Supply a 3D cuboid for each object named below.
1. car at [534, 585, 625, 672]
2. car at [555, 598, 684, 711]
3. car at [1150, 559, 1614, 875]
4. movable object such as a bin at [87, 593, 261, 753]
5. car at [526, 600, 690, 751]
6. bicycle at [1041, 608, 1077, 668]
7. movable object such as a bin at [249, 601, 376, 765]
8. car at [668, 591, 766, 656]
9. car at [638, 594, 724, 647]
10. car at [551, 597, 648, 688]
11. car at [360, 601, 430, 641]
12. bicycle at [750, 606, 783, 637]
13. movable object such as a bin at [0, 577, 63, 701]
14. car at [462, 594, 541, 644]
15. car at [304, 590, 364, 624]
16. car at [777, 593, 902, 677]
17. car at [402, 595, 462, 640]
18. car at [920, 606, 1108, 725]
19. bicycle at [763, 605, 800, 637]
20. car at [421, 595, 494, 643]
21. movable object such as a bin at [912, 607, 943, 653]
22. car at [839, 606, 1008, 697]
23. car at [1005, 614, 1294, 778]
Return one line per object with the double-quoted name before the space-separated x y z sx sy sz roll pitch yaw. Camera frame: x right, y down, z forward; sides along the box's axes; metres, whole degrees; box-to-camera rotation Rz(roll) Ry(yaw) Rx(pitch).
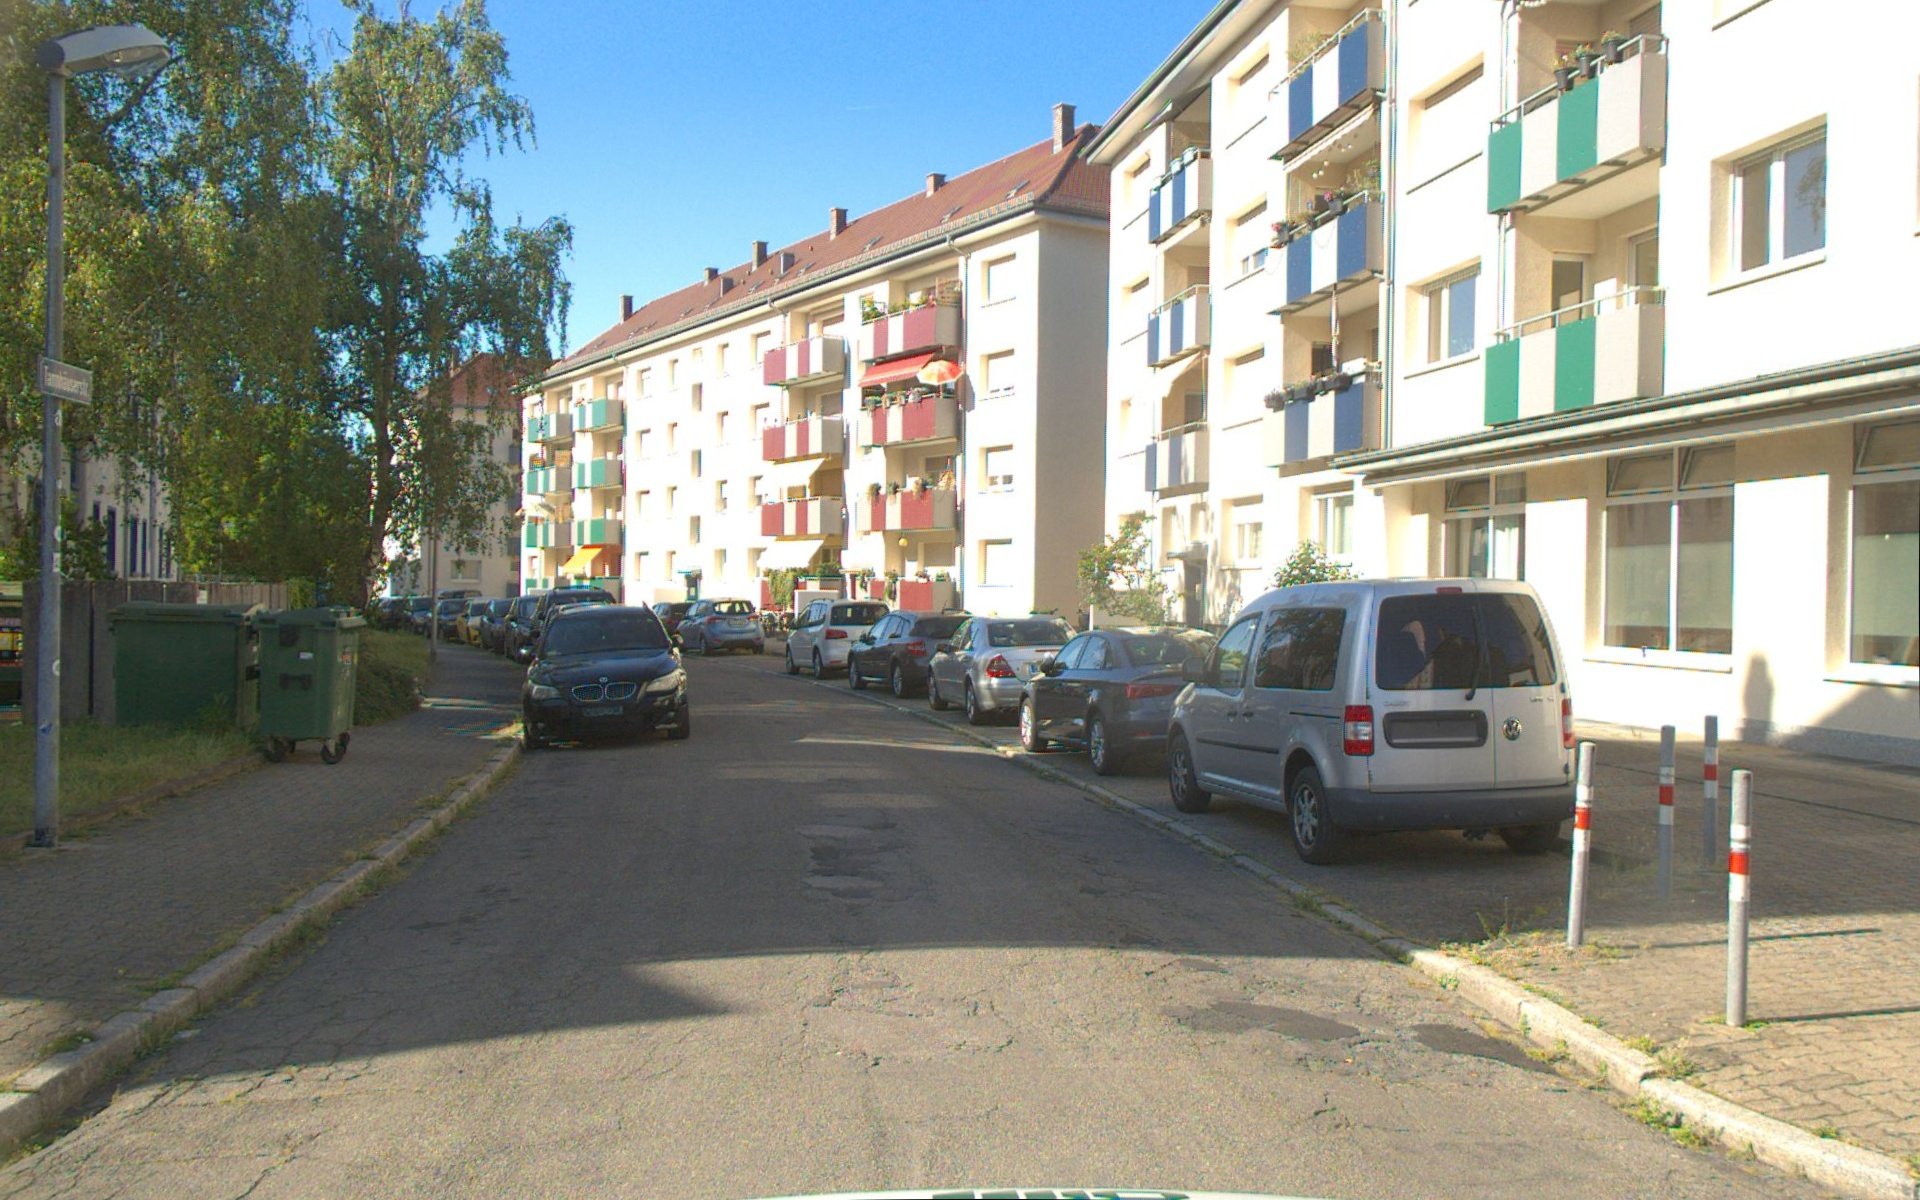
"car" -8.428 0.586 36.401 1.531 1.744 4.315 -2 1 -18
"car" -5.192 0.738 24.864 1.650 1.467 4.263 -2 1 -15
"car" 2.848 0.692 12.193 1.715 1.855 4.121 -2 1 -10
"movable object such as a bin" -7.167 0.655 15.130 1.196 1.404 0.767 1 0 -4
"car" -4.140 0.791 19.756 1.648 1.478 4.608 -2 1 -11
"bicycle" 2.126 0.809 35.619 0.504 1.224 1.759 -1 1 -4
"movable object such as a bin" -5.880 0.721 15.100 0.761 1.417 1.415 0 0 -8
"car" -7.087 0.631 47.955 1.743 1.664 4.010 -2 2 -25
"car" -8.900 0.606 52.587 1.713 1.534 3.854 -2 1 -25
"car" -6.602 0.712 30.048 1.529 1.467 3.952 -2 1 -15
"car" -22.381 0.803 65.444 1.725 1.456 4.551 -2 1 -30
"bicycle" -6.632 0.732 56.598 0.492 1.037 1.825 -1 1 -28
"movable object such as a bin" -11.577 0.464 19.931 1.041 1.460 1.001 -1 1 -9
"car" -13.903 0.555 49.988 1.672 1.413 4.124 0 1 -25
"car" -28.172 0.295 74.376 1.645 1.468 3.823 -2 1 -35
"car" -2.695 0.725 36.068 1.668 1.684 4.366 -1 0 -19
"car" -19.456 0.624 60.876 1.462 1.502 3.598 -4 2 -27
"car" 0.660 0.855 23.774 1.648 1.472 4.710 0 1 -12
"bicycle" -6.197 0.724 57.383 0.610 0.995 1.879 -3 3 -27
"car" -17.092 0.610 56.165 1.551 1.490 4.222 -1 1 -28
"movable object such as a bin" -0.793 0.728 39.991 0.574 1.074 0.638 -3 -1 -14
"car" -0.744 0.857 29.491 1.668 1.456 4.661 -1 0 -19
"car" 1.856 0.913 17.714 1.649 1.431 4.530 0 1 -13
